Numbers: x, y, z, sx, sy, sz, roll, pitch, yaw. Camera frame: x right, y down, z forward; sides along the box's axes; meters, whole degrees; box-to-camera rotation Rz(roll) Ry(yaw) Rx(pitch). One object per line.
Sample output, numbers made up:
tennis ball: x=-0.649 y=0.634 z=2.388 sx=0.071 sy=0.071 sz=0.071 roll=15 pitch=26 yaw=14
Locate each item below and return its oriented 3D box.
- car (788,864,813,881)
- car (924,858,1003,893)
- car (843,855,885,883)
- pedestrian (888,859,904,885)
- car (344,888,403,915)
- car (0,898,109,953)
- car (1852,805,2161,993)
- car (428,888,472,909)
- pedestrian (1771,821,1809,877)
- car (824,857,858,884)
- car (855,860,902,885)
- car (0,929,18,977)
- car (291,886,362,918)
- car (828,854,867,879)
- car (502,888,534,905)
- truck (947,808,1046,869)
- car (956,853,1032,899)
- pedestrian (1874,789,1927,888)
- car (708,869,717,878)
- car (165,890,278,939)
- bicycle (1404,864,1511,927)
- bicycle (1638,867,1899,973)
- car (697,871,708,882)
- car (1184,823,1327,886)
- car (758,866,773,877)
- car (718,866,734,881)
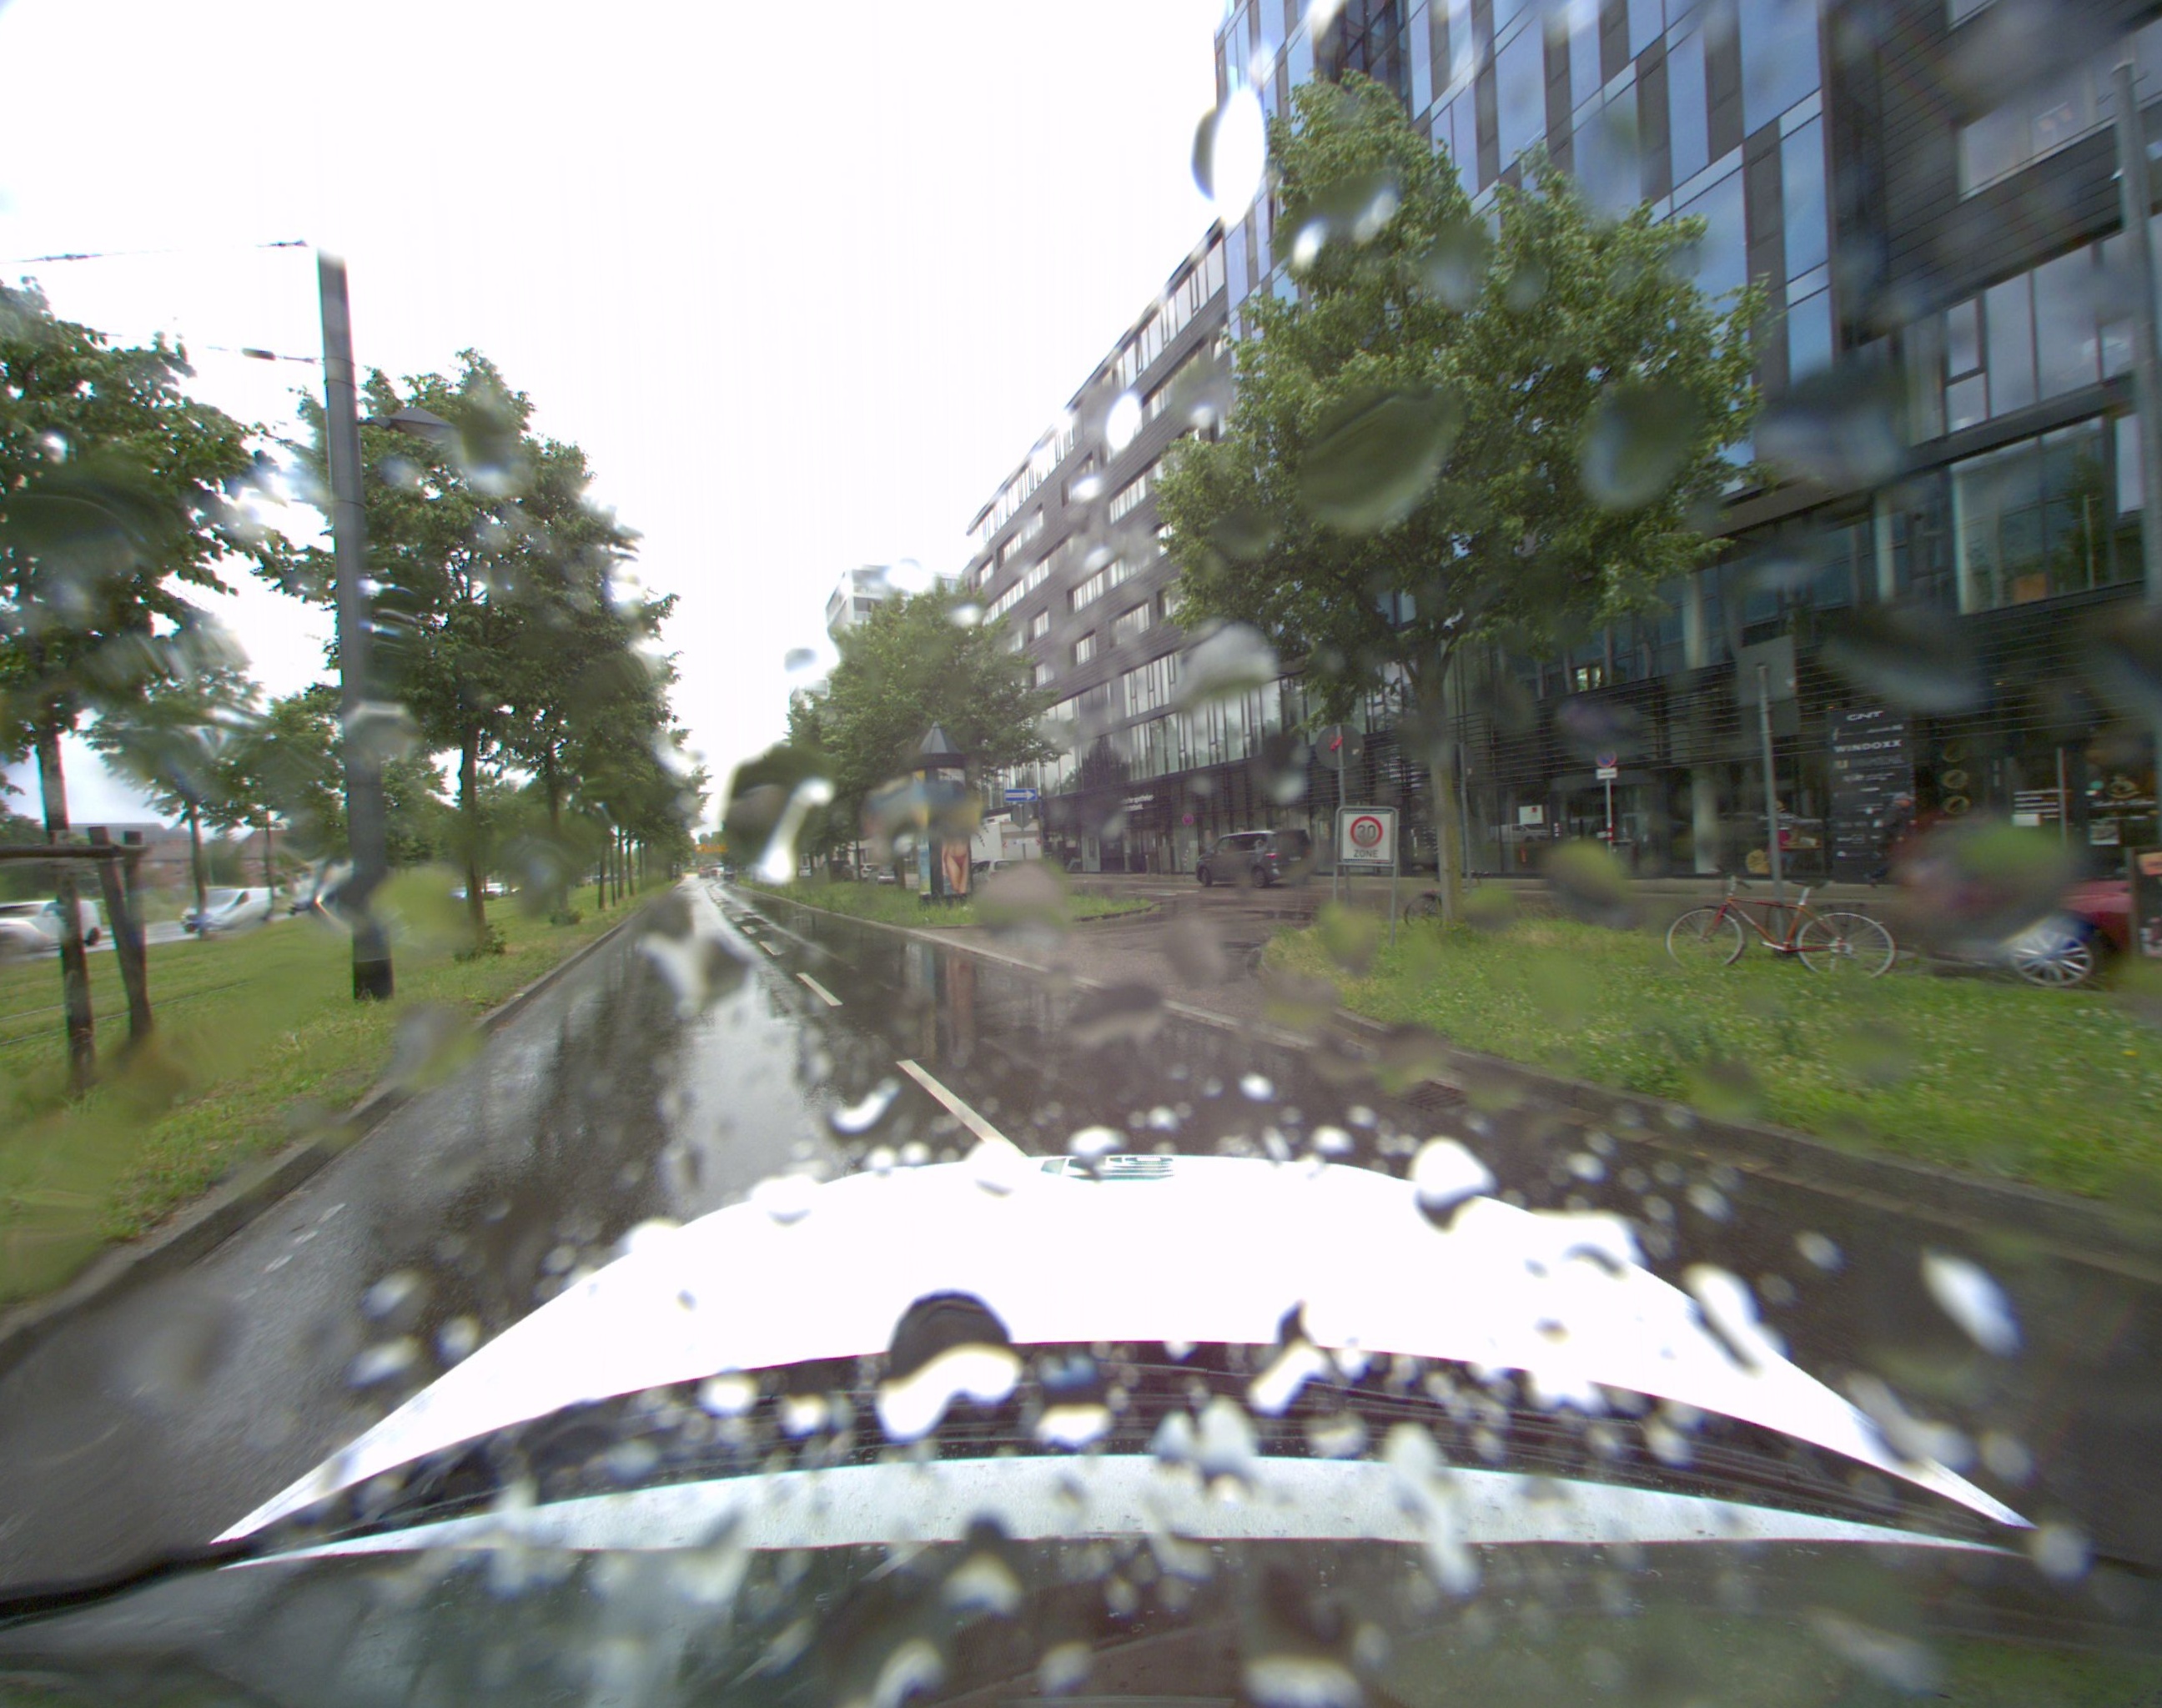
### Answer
car: x=-31.427 y=2.062 z=91.146 sx=2.004 sy=1.669 sz=4.684 roll=-3 pitch=2 yaw=-25
car: x=-5.707 y=1.019 z=38.845 sx=2.006 sy=1.444 sz=5.188 roll=-3 pitch=0 yaw=-29
car: x=-15.365 y=1.002 z=57.541 sx=2.004 sy=1.669 sz=4.684 roll=-3 pitch=2 yaw=-25
pedestrian: x=-10.864 y=1.042 z=47.914 sx=0.702 sy=1.493 sz=0.638 roll=-3 pitch=0 yaw=-29
car: x=-53.875 y=3.565 z=62.108 sx=1.959 sy=1.749 sz=4.541 roll=-3 pitch=0 yaw=-23
car: x=-41.364 y=2.796 z=32.171 sx=1.962 sy=1.651 sz=4.985 roll=-3 pitch=2 yaw=-28
car: x=9.635 y=0.307 z=6.308 sx=2.004 sy=1.454 sz=4.917 roll=-3 pitch=1 yaw=-25
car: x=-53.669 y=3.741 z=69.356 sx=1.961 sy=1.513 sz=4.537 roll=-3 pitch=0 yaw=-26
pedestrian: x=16.139 y=-0.121 z=18.540 sx=0.445 sy=1.237 sz=0.584 roll=-2 pitch=2 yaw=16
car: x=-20.536 y=1.380 z=69.597 sx=2.004 sy=1.952 sz=4.987 roll=-3 pitch=2 yaw=-25
car: x=-13.067 y=1.164 z=52.295 sx=1.780 sy=1.452 sz=4.680 roll=-2 pitch=0 yaw=-28
car: x=-33.213 y=3.143 z=23.028 sx=1.961 sy=1.385 sz=4.565 roll=-3 pitch=2 yaw=-26
car: x=-45.019 y=2.812 z=48.700 sx=1.961 sy=1.494 sz=3.929 roll=-3 pitch=2 yaw=-25
car: x=-18.148 y=0.929 z=63.137 sx=2.004 sy=1.669 sz=4.917 roll=-3 pitch=2 yaw=-25
car: x=-64.890 y=4.889 z=93.997 sx=1.959 sy=1.460 sz=4.796 roll=-3 pitch=2 yaw=-22
truck: x=-5.537 y=-0.865 z=51.544 sx=3.043 sy=3.441 sz=8.468 roll=-3 pitch=0 yaw=-28
car: x=-3.588 y=0.834 z=33.044 sx=1.770 sy=1.596 sz=4.066 roll=-3 pitch=2 yaw=-25
pedestrian: x=15.526 y=-0.302 z=15.435 sx=0.569 sy=1.832 sz=0.510 roll=-1 pitch=2 yaw=28
car: x=-101.098 y=5.291 z=223.524 sx=2.003 sy=2.013 sz=3.969 roll=-3 pitch=2 yaw=-23
car: x=-46.832 y=3.224 z=44.568 sx=2.279 sy=2.006 sz=5.329 roll=-3 pitch=2 yaw=-24
bicycle: x=5.932 y=0.652 z=12.869 sx=1.449 sy=0.917 sz=0.434 roll=-2 pitch=2 yaw=6
bicycle: x=6.672 y=0.591 z=7.996 sx=0.577 sy=0.861 sz=1.892 roll=-4 pitch=3 yaw=-41
car: x=-80.517 y=4.746 z=173.251 sx=2.003 sy=2.013 sz=3.969 roll=-3 pitch=2 yaw=-23
car: x=5.962 y=0.051 z=28.511 sx=2.005 sy=1.920 sz=5.102 roll=-3 pitch=0 yaw=-28
car: x=-51.319 y=2.775 z=132.543 sx=1.891 sy=1.505 sz=4.684 roll=-3 pitch=2 yaw=-25
car: x=-52.572 y=2.857 z=120.610 sx=1.950 sy=2.013 sz=3.967 roll=-3 pitch=2 yaw=-25
